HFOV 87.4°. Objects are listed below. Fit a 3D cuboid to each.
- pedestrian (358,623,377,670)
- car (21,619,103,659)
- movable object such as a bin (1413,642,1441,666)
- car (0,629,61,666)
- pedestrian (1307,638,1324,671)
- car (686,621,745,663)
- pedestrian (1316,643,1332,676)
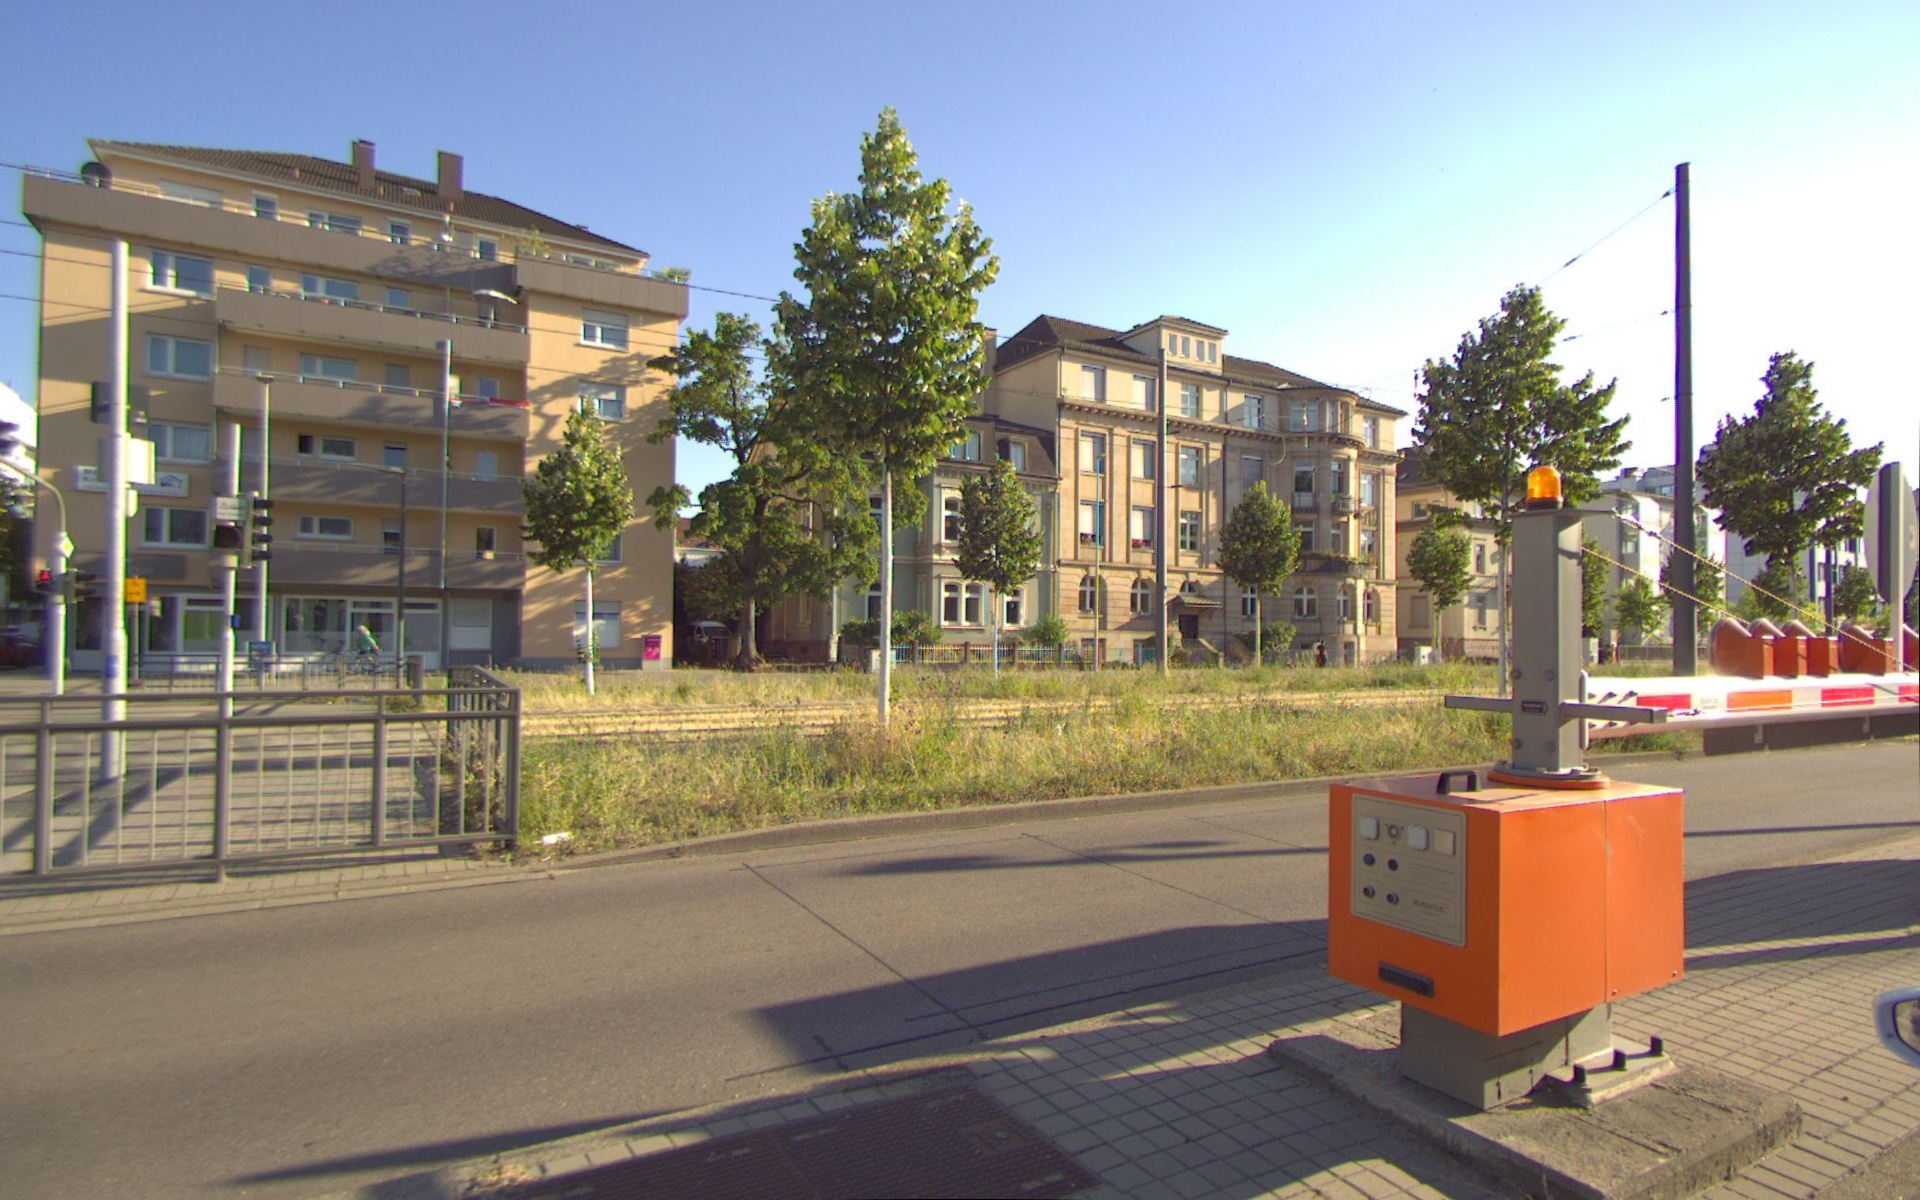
[{"bbox_3d":[-20.325,1.599,34.461,0.515,1.576,0.445,2,-2,-31],"label":"pedestrian"},{"bbox_3d":[-41.544,1.800,46.556,1.976,1.766,3.969,2,-2,-30],"label":"car"},{"bbox_3d":[28.646,3.299,61.634,1.067,1.447,1.199,1,-2,-31],"label":"movable object such as a bin"},{"bbox_3d":[-37.047,1.832,39.271,1.976,1.321,3.969,2,-2,-30],"label":"car"},{"bbox_3d":[19.351,2.969,54.695,0.645,1.743,0.652,2,-2,-31],"label":"pedestrian"},{"bbox_3d":[-12.525,2.110,51.239,1.975,2.073,3.971,2,-2,-28],"label":"car"},{"bbox_3d":[19.626,3.219,54.133,0.645,1.743,0.552,2,-2,-31],"label":"pedestrian"}]
